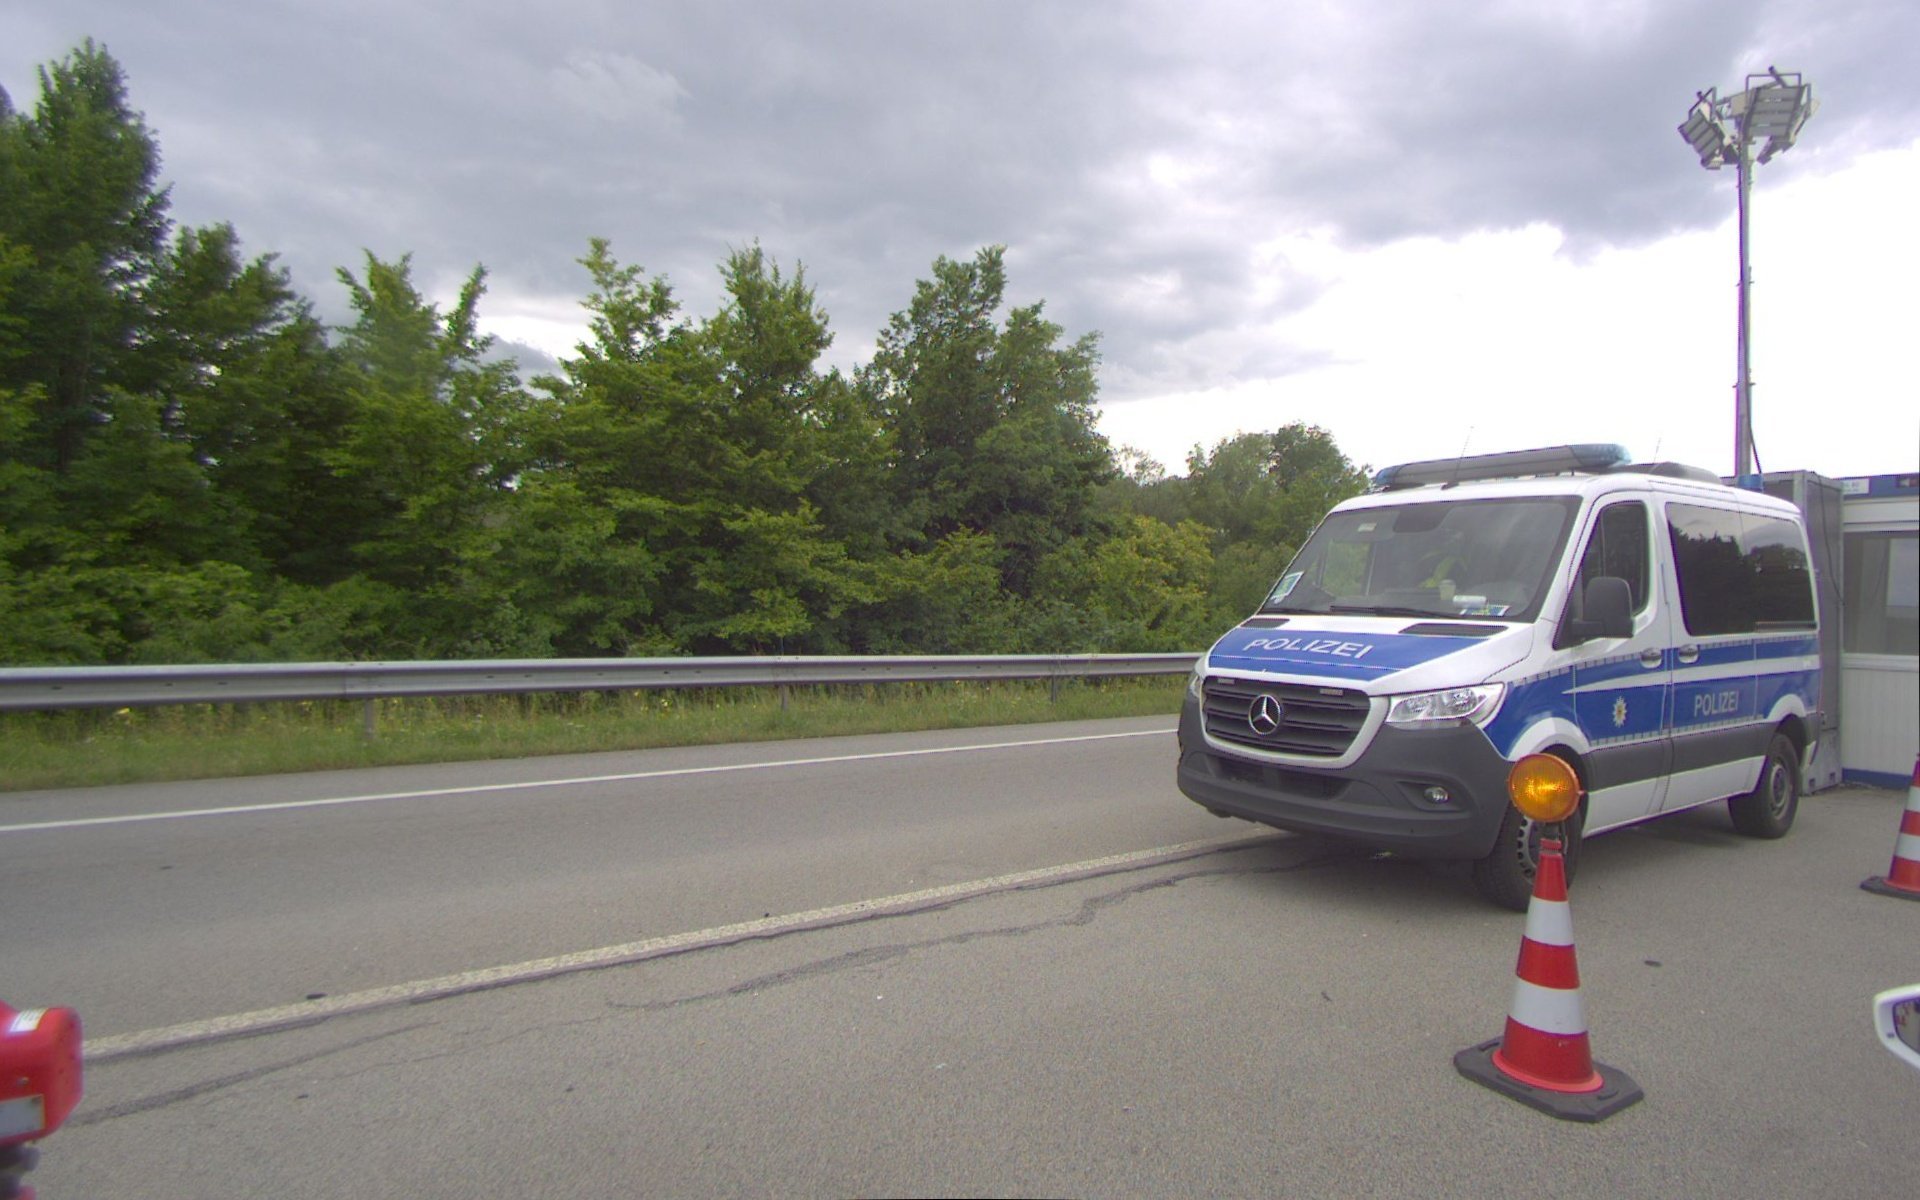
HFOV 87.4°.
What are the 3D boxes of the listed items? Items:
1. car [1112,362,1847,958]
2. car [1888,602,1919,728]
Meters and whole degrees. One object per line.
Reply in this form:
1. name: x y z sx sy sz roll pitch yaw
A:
1. car: 3.619 0.292 6.541 5.226 2.496 2.016 1 0 -35
2. car: 15.457 0.962 14.770 3.968 1.767 1.857 1 0 -35
